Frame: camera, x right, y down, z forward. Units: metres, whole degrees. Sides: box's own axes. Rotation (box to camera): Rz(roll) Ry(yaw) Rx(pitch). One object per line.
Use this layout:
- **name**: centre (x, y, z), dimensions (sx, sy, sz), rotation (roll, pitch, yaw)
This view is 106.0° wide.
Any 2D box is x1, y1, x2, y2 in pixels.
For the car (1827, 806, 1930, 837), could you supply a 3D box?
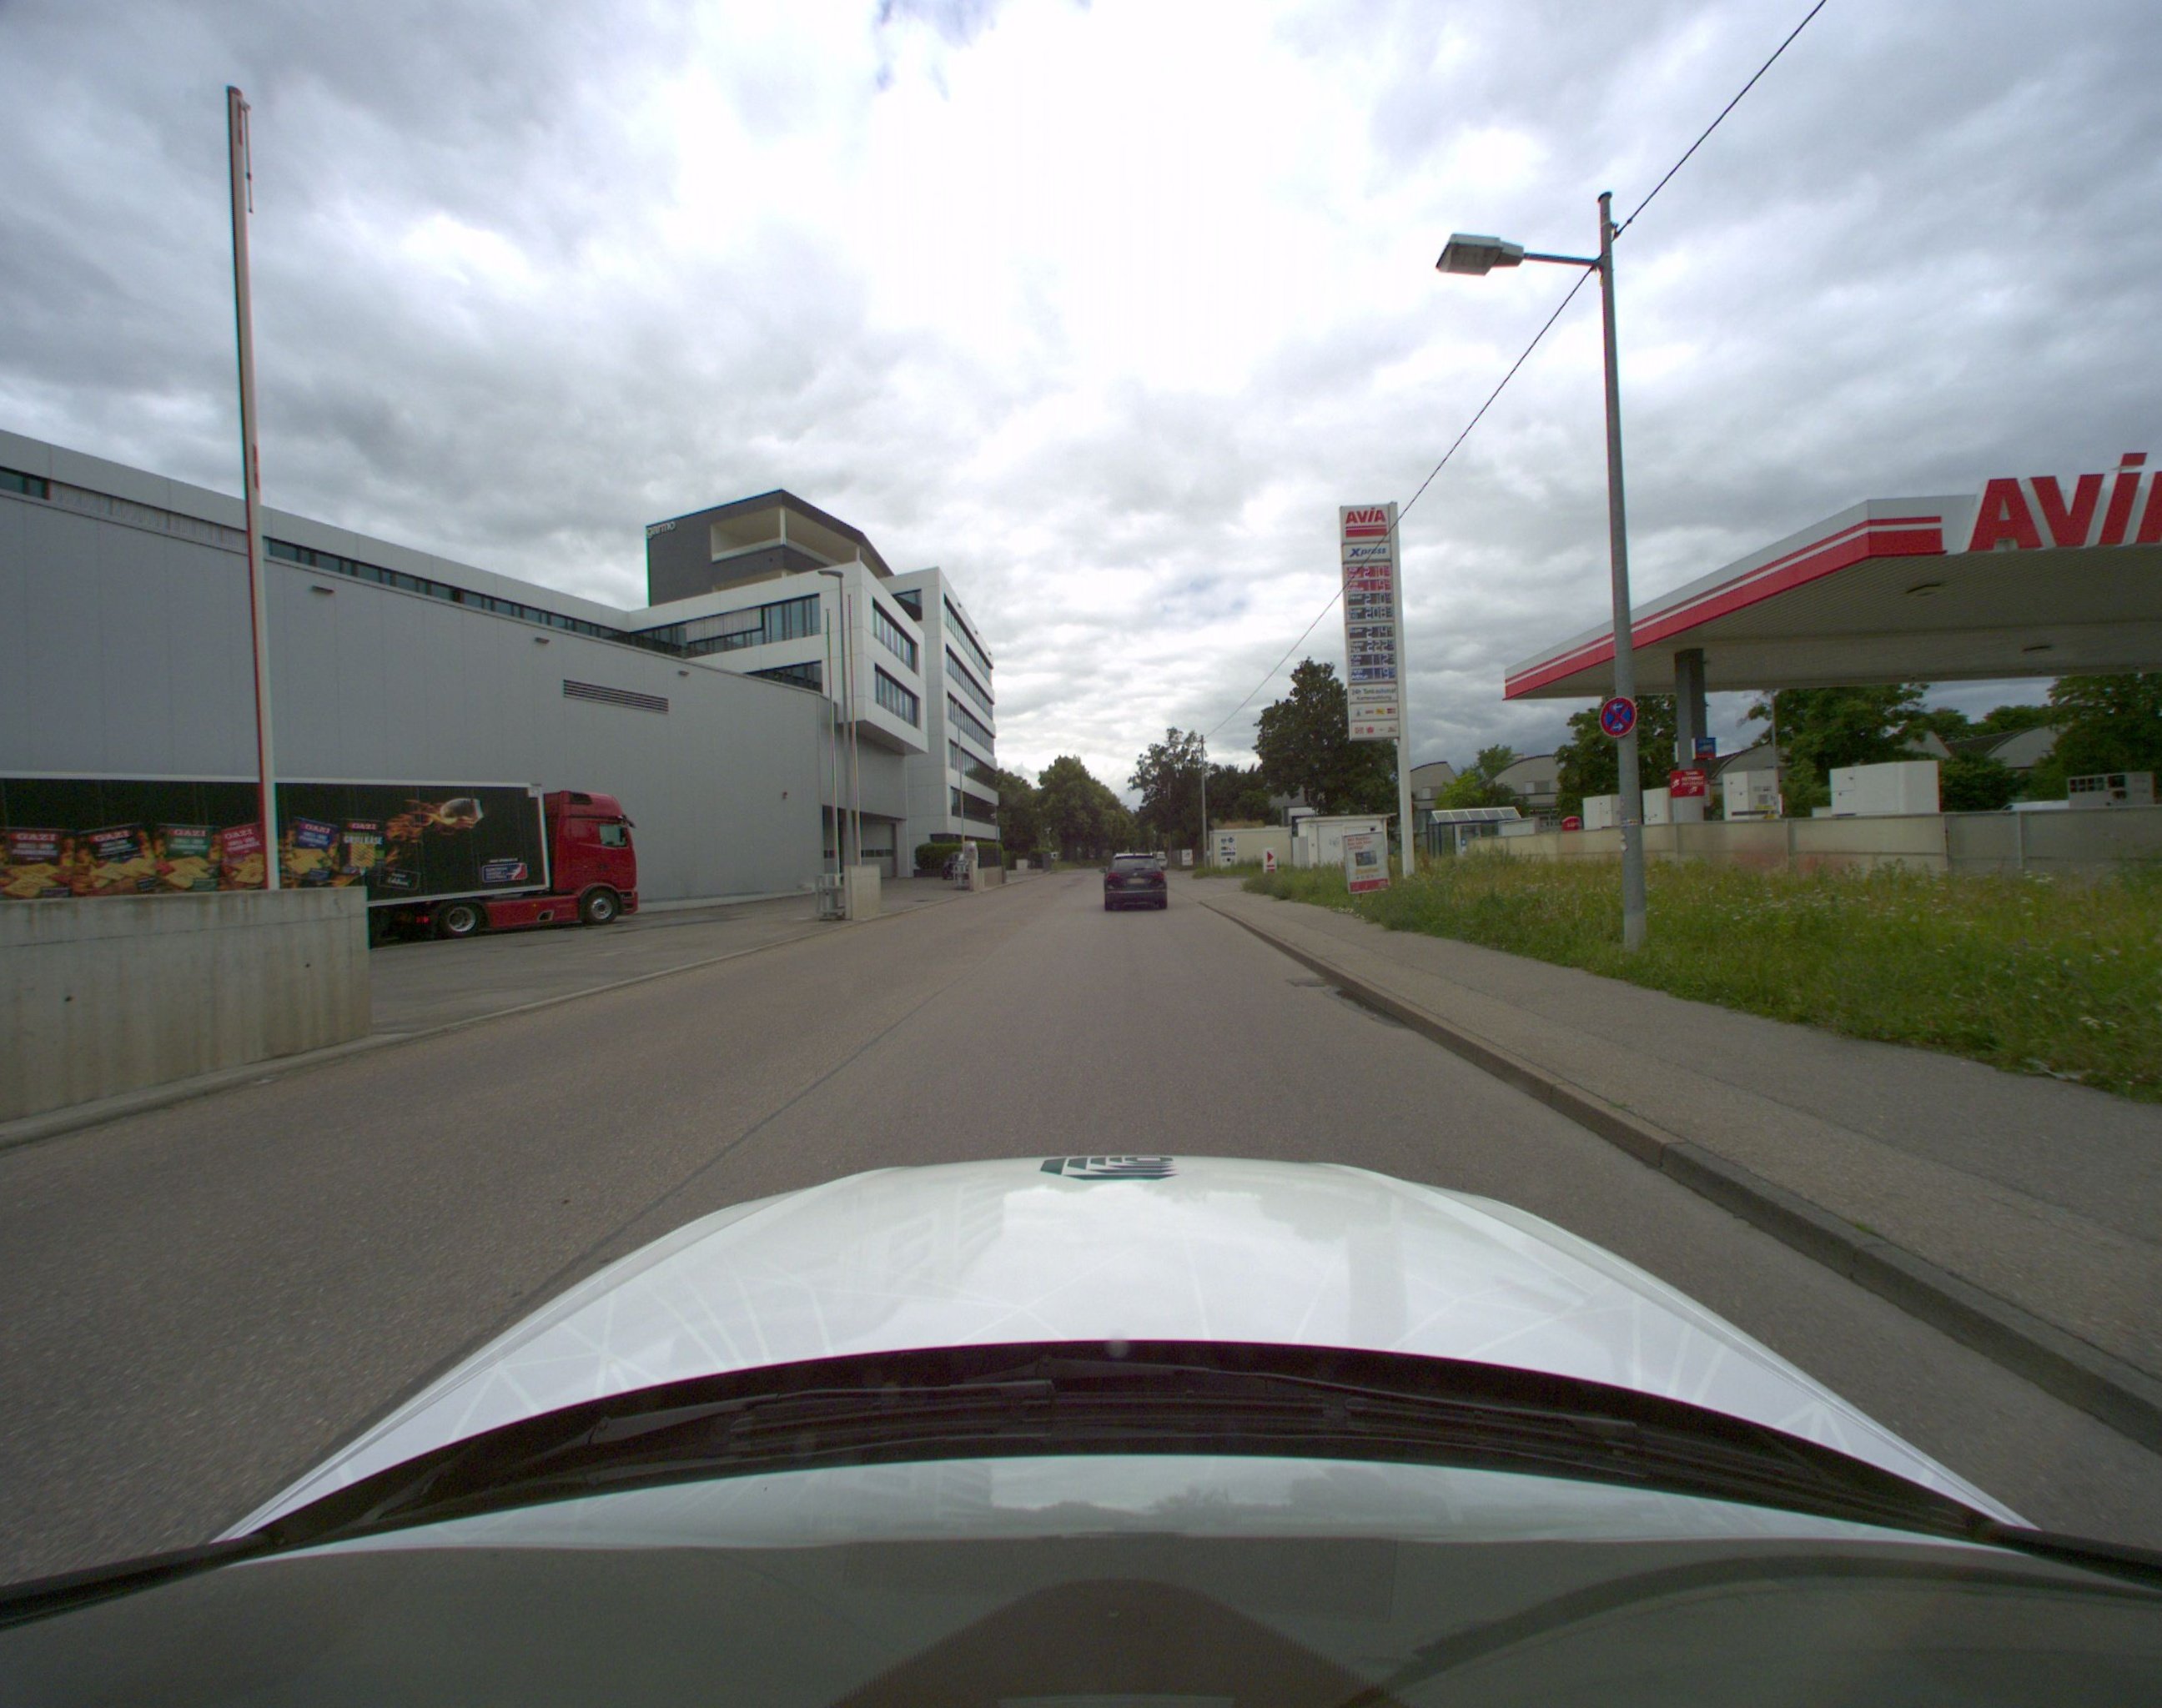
- **car**: centre (50.282, -1.991, 51.508), dimensions (1.955, 1.645, 4.655), rotation (-3, 0, 1)

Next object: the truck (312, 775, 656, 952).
- **truck**: centre (-15.840, 0.195, 22.403), dimensions (2.718, 4.031, 7.132), rotation (-2, 0, 23)

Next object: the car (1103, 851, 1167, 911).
- **car**: centre (1.632, 0.767, 24.308), dimensions (1.731, 1.618, 3.645), rotation (-1, -1, 5)

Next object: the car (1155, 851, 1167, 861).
- **car**: centre (14.642, 0.312, 149.574), dimensions (1.982, 1.786, 4.009), rotation (-1, 0, 8)

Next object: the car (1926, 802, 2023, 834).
- **car**: centre (55.892, -2.235, 51.093), dimensions (2.076, 1.737, 4.908), rotation (-3, 0, 21)

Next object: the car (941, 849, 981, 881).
- **car**: centre (-6.883, 0.596, 47.061), dimensions (1.643, 1.762, 3.182), rotation (-1, 0, 4)

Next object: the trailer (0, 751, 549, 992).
- **trailer**: centre (-18.219, 0.280, 16.777), dimensions (2.718, 4.031, 12.687), rotation (-2, 0, 23)

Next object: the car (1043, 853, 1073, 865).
- **car**: centre (-4.849, 1.071, 172.487), dimensions (6.042, 2.387, 2.398), rotation (-2, 0, 4)

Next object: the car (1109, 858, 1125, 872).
- **car**: centre (4.639, 1.405, 104.999), dimensions (1.830, 1.616, 4.006), rotation (-2, 0, 5)

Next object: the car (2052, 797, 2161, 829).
- **car**: centre (60.953, -2.391, 48.448), dimensions (2.076, 1.651, 4.993), rotation (-3, 0, 24)

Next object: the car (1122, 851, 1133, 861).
- **car**: centre (8.404, 0.395, 146.834), dimensions (1.798, 1.764, 4.214), rotation (-1, 0, 7)

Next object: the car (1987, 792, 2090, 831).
- **car**: centre (58.573, -2.521, 49.961), dimensions (2.076, 2.103, 4.930), rotation (-3, 0, 24)
